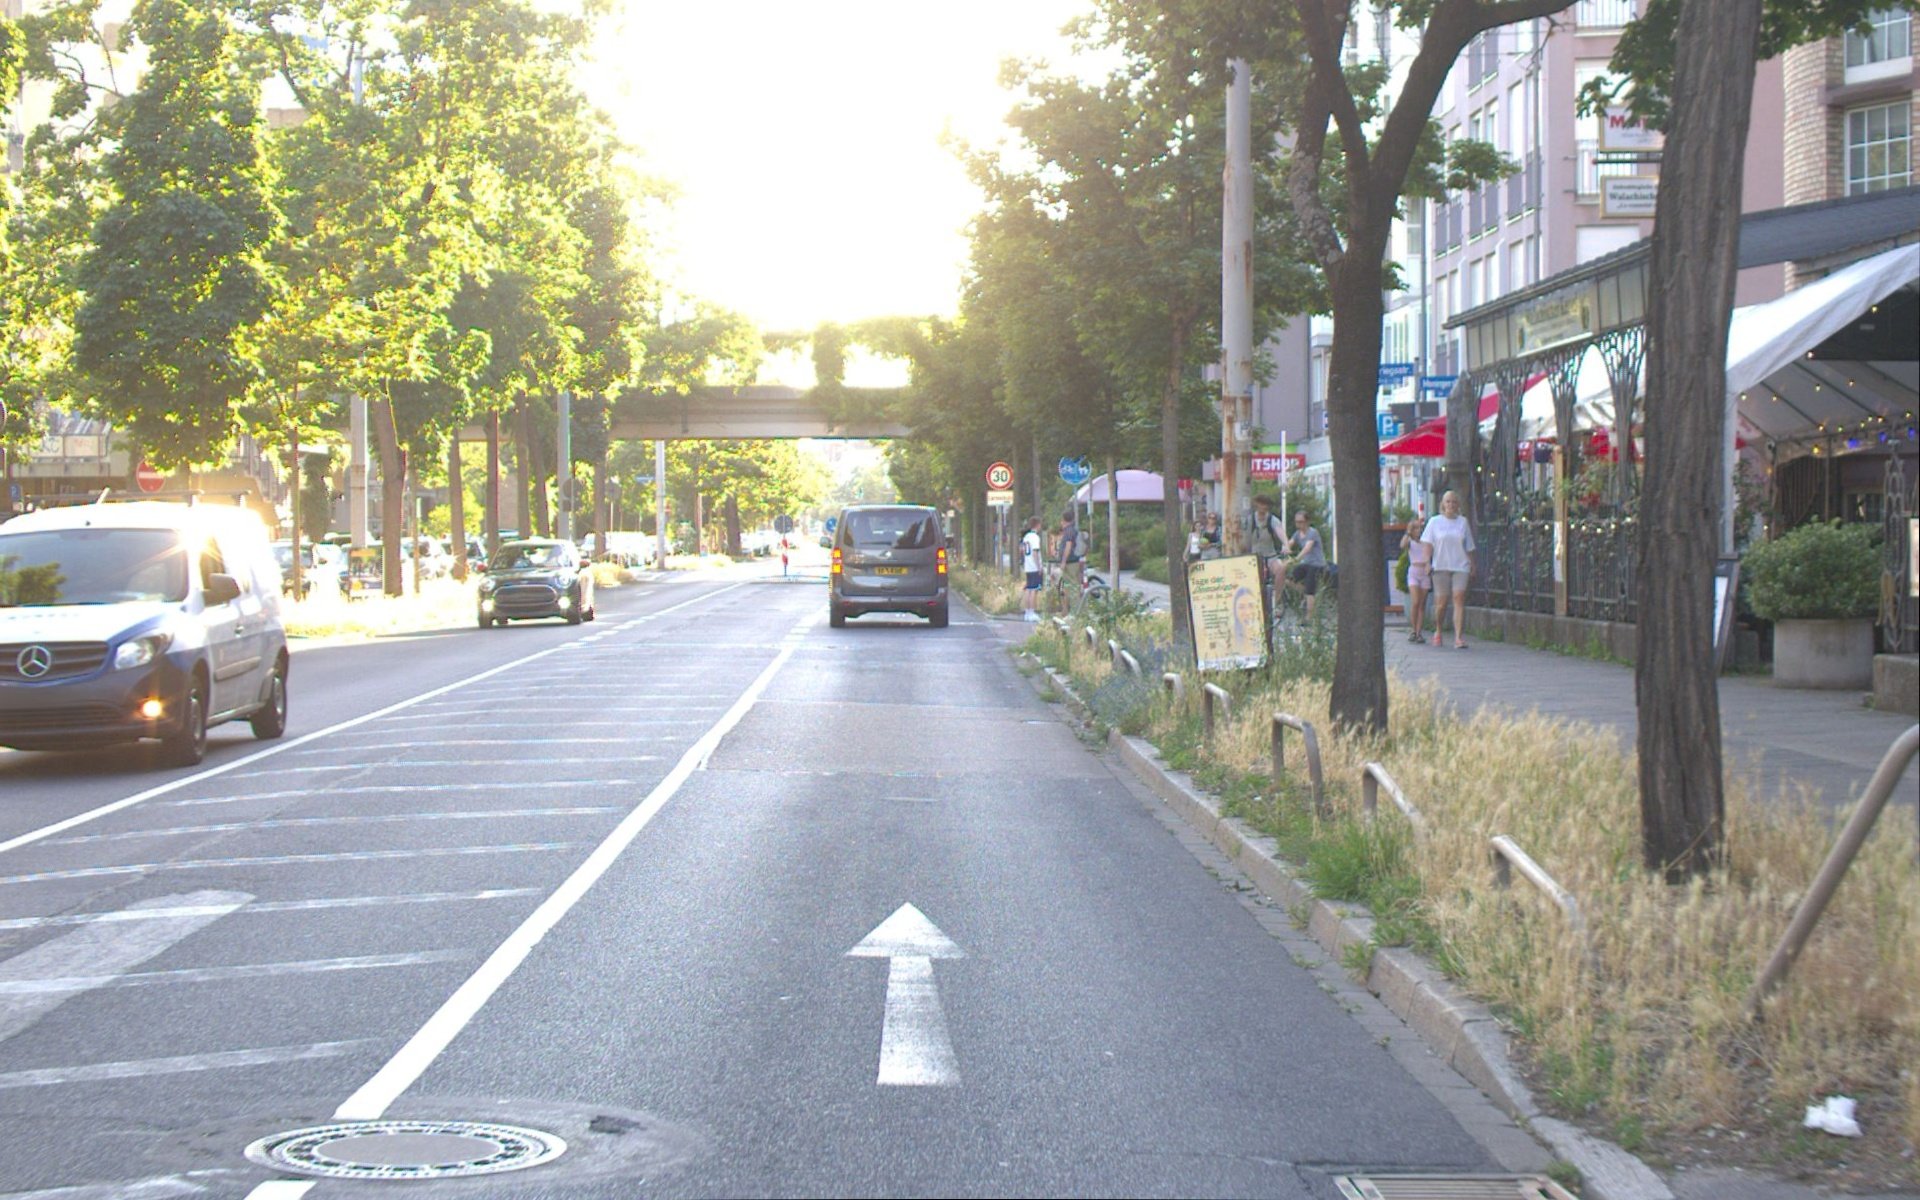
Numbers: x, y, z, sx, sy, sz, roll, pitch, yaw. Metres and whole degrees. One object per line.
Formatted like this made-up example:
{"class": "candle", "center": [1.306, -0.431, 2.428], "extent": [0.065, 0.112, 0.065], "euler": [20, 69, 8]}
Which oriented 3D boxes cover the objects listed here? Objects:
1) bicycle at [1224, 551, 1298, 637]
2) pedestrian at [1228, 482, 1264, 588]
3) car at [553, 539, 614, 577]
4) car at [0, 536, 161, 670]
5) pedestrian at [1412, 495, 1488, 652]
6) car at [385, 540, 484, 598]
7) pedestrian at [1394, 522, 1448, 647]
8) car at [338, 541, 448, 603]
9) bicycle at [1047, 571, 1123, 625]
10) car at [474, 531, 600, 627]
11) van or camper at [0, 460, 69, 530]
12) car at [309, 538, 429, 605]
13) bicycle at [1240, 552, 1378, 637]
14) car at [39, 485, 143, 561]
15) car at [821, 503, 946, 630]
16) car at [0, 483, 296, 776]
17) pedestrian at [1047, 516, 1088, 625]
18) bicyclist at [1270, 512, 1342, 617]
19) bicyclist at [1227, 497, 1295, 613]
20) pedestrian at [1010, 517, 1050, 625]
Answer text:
{"class": "bicycle", "center": [3.291, -0.081, 37.697], "extent": [0.579, 0.894, 1.987], "euler": [2, 1, -1]}
{"class": "pedestrian", "center": [6.920, -1.583, 83.224], "extent": [0.715, 2.530, 0.824], "euler": [2, 1, -1]}
{"class": "car", "center": [-15.070, -1.704, 137.715], "extent": [1.993, 1.409, 4.237], "euler": [2, 1, -1]}
{"class": "car", "center": [-10.272, -0.001, 38.864], "extent": [1.638, 1.381, 4.001], "euler": [2, 1, -2]}
{"class": "pedestrian", "center": [5.166, -0.281, 36.296], "extent": [0.644, 1.627, 0.656], "euler": [2, 1, -1]}
{"class": "car", "center": [-13.810, -0.836, 90.610], "extent": [1.993, 1.409, 4.237], "euler": [2, 1, -1]}
{"class": "pedestrian", "center": [5.053, -0.169, 37.666], "extent": [0.467, 1.346, 0.530], "euler": [2, 1, -1]}
{"class": "car", "center": [-13.754, -0.704, 83.545], "extent": [1.993, 1.409, 4.237], "euler": [2, 1, -1]}
{"class": "bicycle", "center": [2.213, -0.041, 61.121], "extent": [0.588, 0.894, 1.988], "euler": [2, 1, -21]}
{"class": "car", "center": [-7.149, -0.376, 58.420], "extent": [1.679, 1.525, 4.000], "euler": [-2, 1, -1]}
{"class": "van or camper", "center": [-36.619, -3.962, 127.390], "extent": [6.562, 2.513, 2.450], "euler": [2, 1, -2]}
{"class": "car", "center": [-13.317, -0.671, 77.685], "extent": [1.993, 1.409, 4.237], "euler": [2, 1, -1]}
{"class": "bicycle", "center": [5.315, -0.092, 52.408], "extent": [1.980, 1.222, 0.548], "euler": [2, 1, -7]}
{"class": "car", "center": [-27.679, -2.433, 109.645], "extent": [1.993, 2.300, 5.245], "euler": [2, 1, -1]}
{"class": "car", "center": [-1.181, -0.558, 54.604], "extent": [1.887, 1.918, 3.839], "euler": [0, 1, 0]}
{"class": "car", "center": [-5.943, 0.150, 24.101], "extent": [1.833, 1.846, 4.474], "euler": [-1, 1, -2]}
{"class": "pedestrian", "center": [1.885, -0.517, 60.272], "extent": [0.504, 1.882, 0.545], "euler": [2, 1, -16]}
{"class": "bicyclist", "center": [5.268, -0.541, 52.398], "extent": [0.935, 1.552, 0.546], "euler": [2, 1, -7]}
{"class": "bicyclist", "center": [3.297, -0.500, 37.717], "extent": [0.585, 1.232, 1.112], "euler": [2, 1, -1]}
{"class": "pedestrian", "center": [1.230, -0.511, 60.707], "extent": [0.504, 1.882, 0.545], "euler": [2, 1, -16]}
